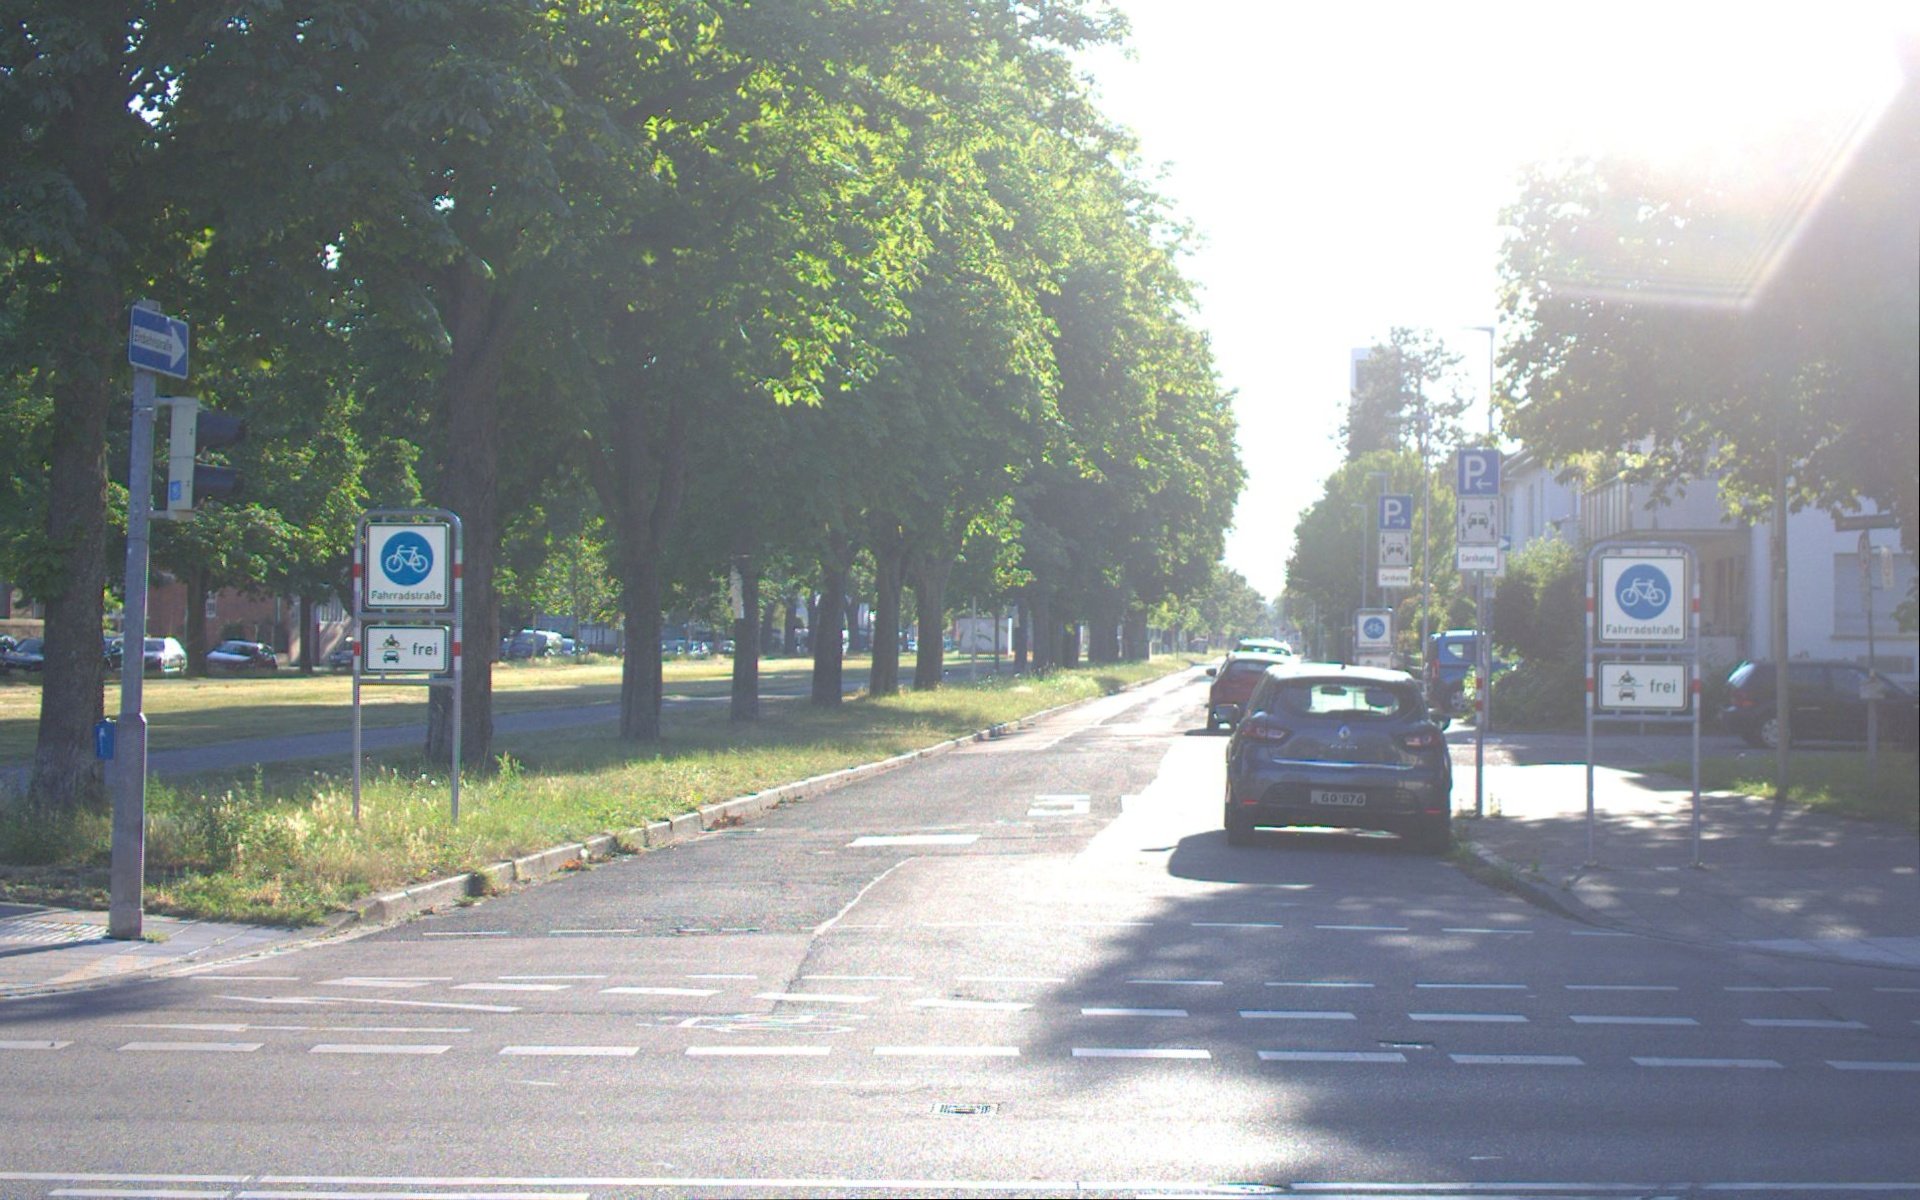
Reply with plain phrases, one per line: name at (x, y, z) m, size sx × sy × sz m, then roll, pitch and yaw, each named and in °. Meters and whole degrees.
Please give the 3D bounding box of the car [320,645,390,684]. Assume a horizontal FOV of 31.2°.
car at (-28.398, 3.043, 161.581) m, size 1.994 × 1.653 × 4.353 m, roll 3°, pitch -2°, yaw 7°

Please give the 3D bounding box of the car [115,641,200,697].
car at (-30.795, 2.675, 132.042) m, size 1.994 × 2.007 × 3.999 m, roll 3°, pitch -2°, yaw 4°

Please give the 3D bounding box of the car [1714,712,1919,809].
car at (14.103, 2.539, 54.487) m, size 3.988 × 1.442 × 1.715 m, roll 1°, pitch -2°, yaw 5°

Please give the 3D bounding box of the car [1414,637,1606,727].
car at (12.205, 1.822, 76.429) m, size 3.987 × 1.816 × 1.759 m, roll 0°, pitch -7°, yaw 1°

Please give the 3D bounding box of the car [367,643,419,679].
car at (-27.848, 2.999, 169.001) m, size 1.639 × 1.637 × 3.853 m, roll 3°, pitch -2°, yaw 4°

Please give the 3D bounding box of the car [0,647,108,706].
car at (-27.724, 2.340, 104.965) m, size 1.880 × 1.668 × 4.314 m, roll 3°, pitch -1°, yaw 6°

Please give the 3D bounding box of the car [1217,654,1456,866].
car at (3.077, 1.280, 28.321) m, size 1.726 × 1.506 × 4.539 m, roll 3°, pitch -2°, yaw 6°

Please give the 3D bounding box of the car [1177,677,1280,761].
car at (4.832, 2.125, 61.615) m, size 1.710 × 1.355 × 4.202 m, roll 3°, pitch -2°, yaw 5°

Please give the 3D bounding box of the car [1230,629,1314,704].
car at (7.903, 1.667, 87.340) m, size 1.994 × 1.775 × 3.999 m, roll 3°, pitch 0°, yaw 4°

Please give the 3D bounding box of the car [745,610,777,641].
car at (-13.953, 1.776, 240.996) m, size 1.654 × 1.932 × 3.566 m, roll 3°, pitch -3°, yaw 5°

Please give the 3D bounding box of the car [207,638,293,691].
car at (-25.804, 2.373, 125.067) m, size 1.812 × 1.775 × 4.121 m, roll 3°, pitch -2°, yaw 6°

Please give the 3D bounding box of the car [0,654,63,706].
car at (-31.932, 2.665, 115.377) m, size 1.994 × 1.653 × 4.372 m, roll 3°, pitch -2°, yaw 7°
